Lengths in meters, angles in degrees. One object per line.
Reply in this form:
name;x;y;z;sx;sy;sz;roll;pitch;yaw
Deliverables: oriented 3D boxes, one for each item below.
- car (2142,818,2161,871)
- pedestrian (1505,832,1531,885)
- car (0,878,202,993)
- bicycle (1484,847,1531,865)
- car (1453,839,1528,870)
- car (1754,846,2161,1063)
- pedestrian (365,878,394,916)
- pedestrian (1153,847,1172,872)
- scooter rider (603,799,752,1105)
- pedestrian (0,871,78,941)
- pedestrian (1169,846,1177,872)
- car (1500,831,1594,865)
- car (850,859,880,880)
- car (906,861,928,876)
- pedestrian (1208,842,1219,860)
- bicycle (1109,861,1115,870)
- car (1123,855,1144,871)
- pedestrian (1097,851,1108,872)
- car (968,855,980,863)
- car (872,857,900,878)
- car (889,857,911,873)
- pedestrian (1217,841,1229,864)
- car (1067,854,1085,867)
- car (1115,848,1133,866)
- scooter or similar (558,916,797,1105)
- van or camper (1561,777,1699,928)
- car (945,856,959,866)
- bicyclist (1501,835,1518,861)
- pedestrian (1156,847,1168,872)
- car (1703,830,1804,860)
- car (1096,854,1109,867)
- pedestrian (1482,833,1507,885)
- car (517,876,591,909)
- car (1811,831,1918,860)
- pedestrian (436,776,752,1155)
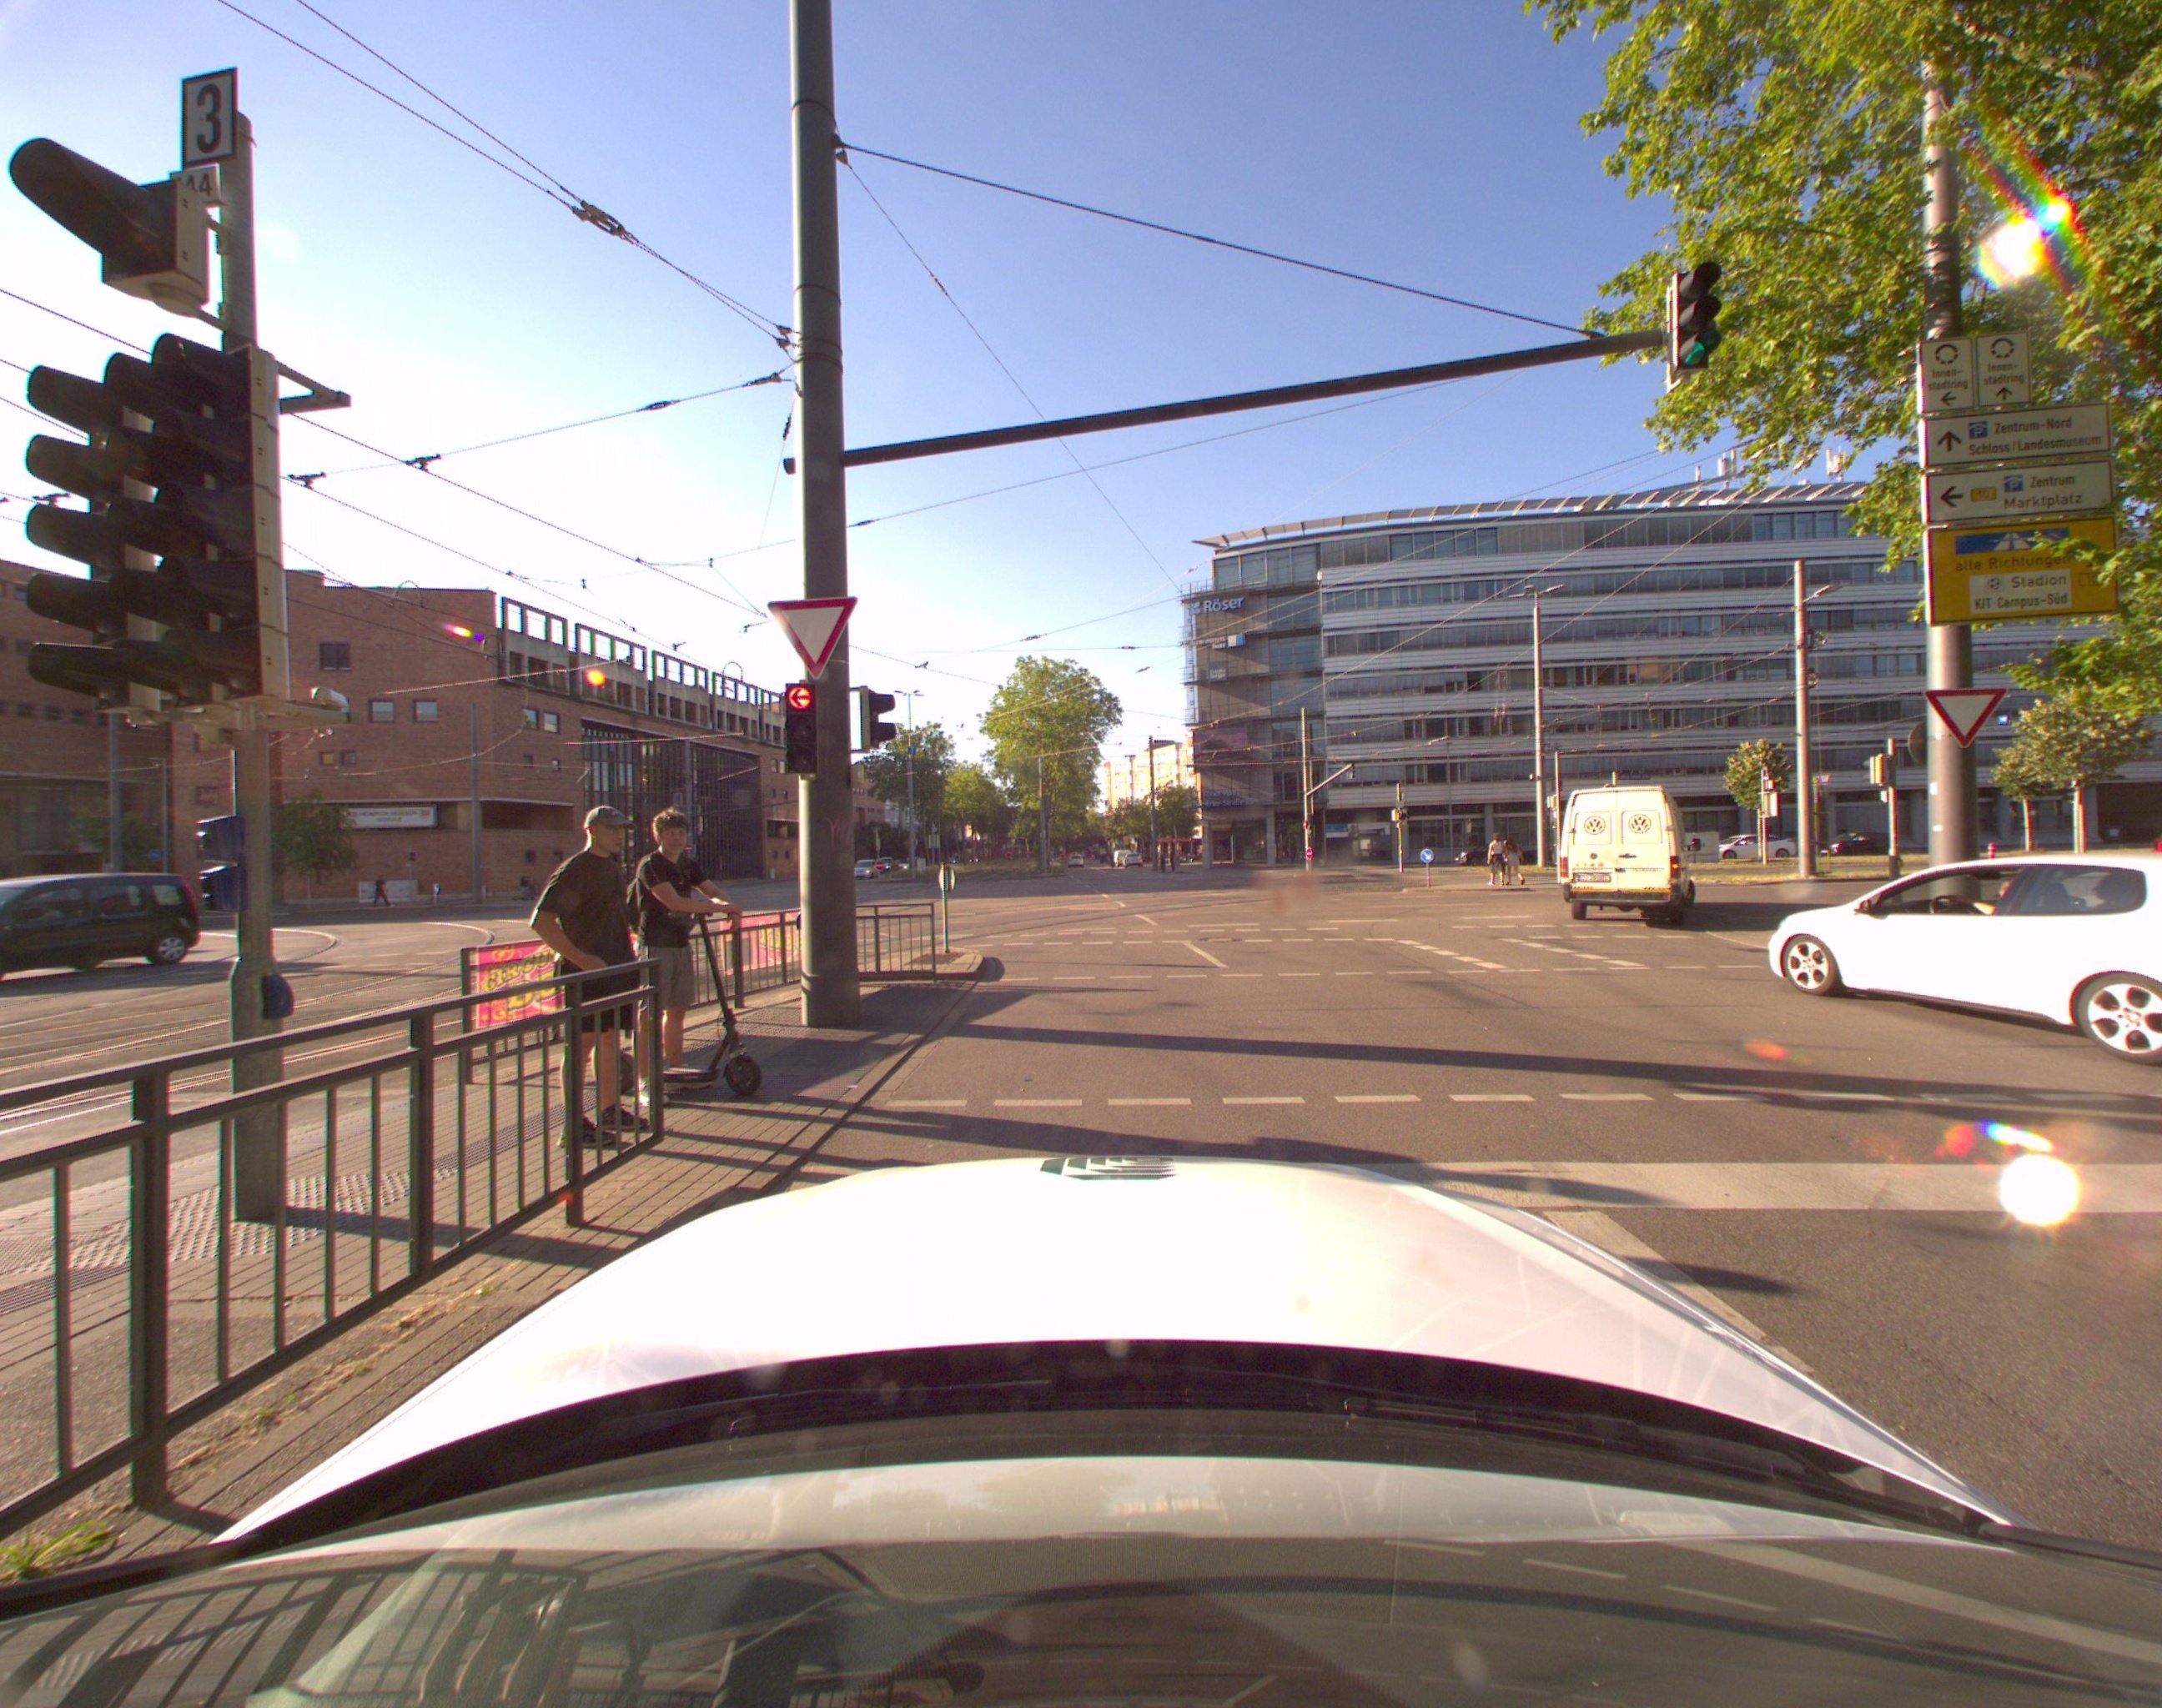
car;31.217;-0.291;21.820;3.572;1.459;1.495;-1;0;1
pedestrian;14.973;0.148;27.918;0.677;1.759;0.746;-2;0;24
car;-18.342;1.400;14.120;1.863;1.762;3.997;-3;0;-2
bicycle;25.668;0.129;49.029;2.397;1.022;0.638;-2;0;6
car;27.084;0.043;53.947;3.972;2.014;2.001;0;-1;2
car;8.105;0.663;6.922;1.628;1.428;3.990;-1;0;3
pedestrian;-35.850;2.169;41.607;0.721;1.902;0.875;0;-1;-1
pedestrian;6.579;0.462;65.818;1.337;1.950;1.011;-2;-1;1
scooter rider;-2.615;0.607;5.325;0.563;1.853;0.681;-2;-2;6
pedestrian;-31.306;1.539;24.378;1.029;2.014;1.208;0;-1;1
pedestrian;7.095;0.375;62.674;0.584;2.014;0.620;0;-1;2
car;26.523;-0.328;46.444;4.234;1.723;1.886;-2;0;4
car;-17.963;1.255;67.856;1.618;1.577;3.994;-2;0;-4
car;-23.660;2.030;117.824;1.867;2.013;4.477;-2;0;4
pedestrian;16.133;-0.402;99.365;1.305;2.190;1.173;-1;-1;8
bicycle;2.842;1.078;75.095;0.489;0.788;1.862;-1;0;2
car;5.313;0.934;82.872;2.022;1.596;4.001;0;-1;2
pedestrian;1.772;0.603;66.403;0.866;1.707;0.794;0;-1;1
car;-22.728;1.064;173.738;1.837;1.783;4.002;-2;0;2
car;-18.061;1.228;75.520;1.819;1.790;3.994;-2;0;-4
car;-18.484;1.135;83.274;1.673;1.607;3.994;0;-1;-4
pedestrian;12.468;-0.110;71.458;0.866;2.014;0.794;0;-2;1
car;-0.587;0.762;93.657;1.740;1.418;4.004;-1;0;4
car;4.714;0.340;89.715;1.986;2.014;4.001;0;-1;2
scooter or similar;-2.591;0.988;5.309;1.196;1.081;0.649;-2;0;5
van or camper;11.737;-0.066;17.226;1.980;2.614;6.540;-2;0;37
car;-24.559;1.277;155.421;1.903;1.783;4.002;-2;0;2
bicyclist;25.795;-0.375;49.018;0.660;1.503;0.614;-2;0;7
pedestrian;6.383;0.438;64.321;0.846;2.014;0.708;0;-1;0
car;37.333;-0.496;45.295;3.968;1.596;1.884;0;-1;5
car;3.328;0.988;126.801;1.986;2.014;4.001;0;-1;2
pedestrian;14.315;0.177;28.199;0.671;1.759;0.746;-2;0;25
car;-36.574;2.657;56.649;1.982;2.013;4.202;-2;0;8
car;44.665;-0.485;46.499;4.097;1.596;1.884;0;-1;5
pedestrian;-2.647;0.574;4.542;1.161;1.884;0.856;-2;0;6
